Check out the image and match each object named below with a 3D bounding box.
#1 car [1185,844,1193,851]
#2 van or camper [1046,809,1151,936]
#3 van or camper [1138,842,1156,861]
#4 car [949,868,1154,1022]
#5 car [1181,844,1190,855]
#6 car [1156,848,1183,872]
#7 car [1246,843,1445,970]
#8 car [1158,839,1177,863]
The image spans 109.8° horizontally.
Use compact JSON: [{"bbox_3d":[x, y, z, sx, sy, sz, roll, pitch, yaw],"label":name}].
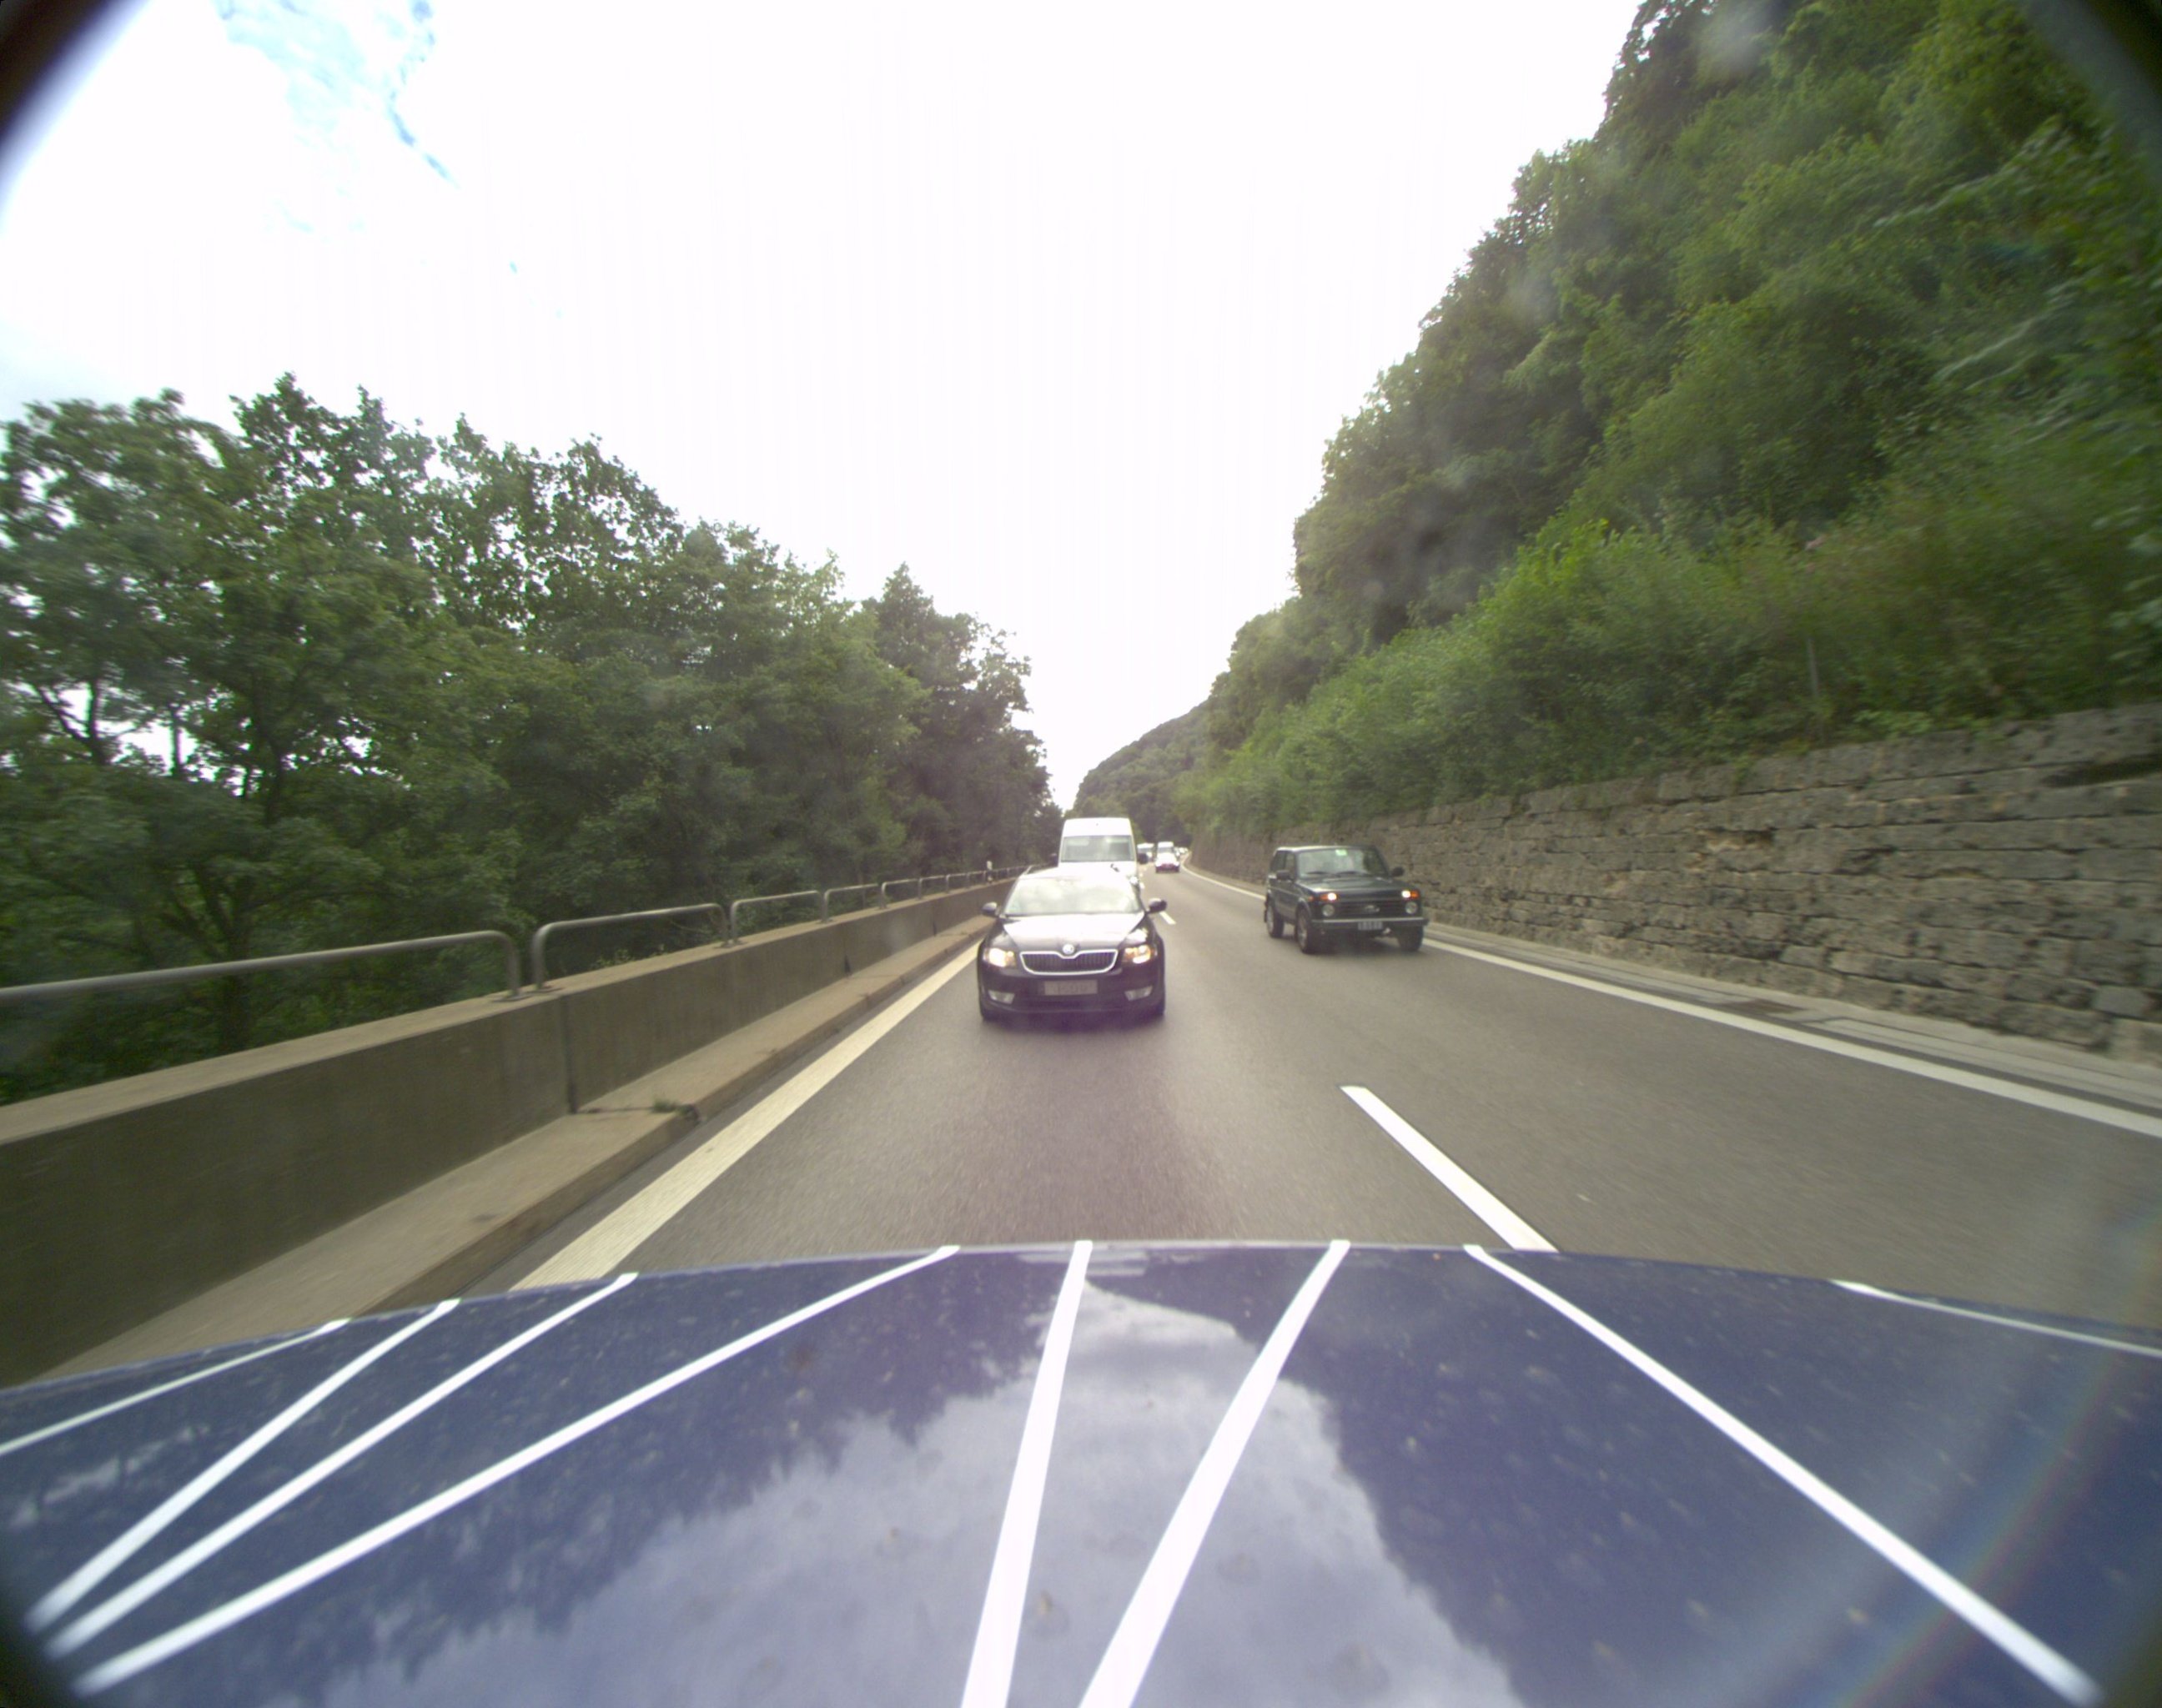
[{"bbox_3d":[33.631,-1.979,236.232,1.998,2.002,4.001,-8,1,6],"label":"car"},{"bbox_3d":[0.539,0.390,19.242,2.081,2.575,5.913,-4,0,3],"label":"van or camper"},{"bbox_3d":[9.739,-0.386,111.447,2.269,2.527,5.913,-4,1,7],"label":"van or camper"},{"bbox_3d":[-0.185,0.962,10.127,1.998,1.389,5.009,-3,0,3],"label":"car"},{"bbox_3d":[25.552,-1.064,185.824,1.975,2.545,4.586,-2,0,8],"label":"car"},{"bbox_3d":[6.774,0.438,58.536,1.812,1.646,4.584,-3,0,4],"label":"car"},{"bbox_3d":[4.082,0.696,12.596,1.812,1.646,4.583,-3,0,2],"label":"car"},{"bbox_3d":[9.806,-0.376,86.289,1.975,2.628,4.585,-2,0,5],"label":"car"}]
